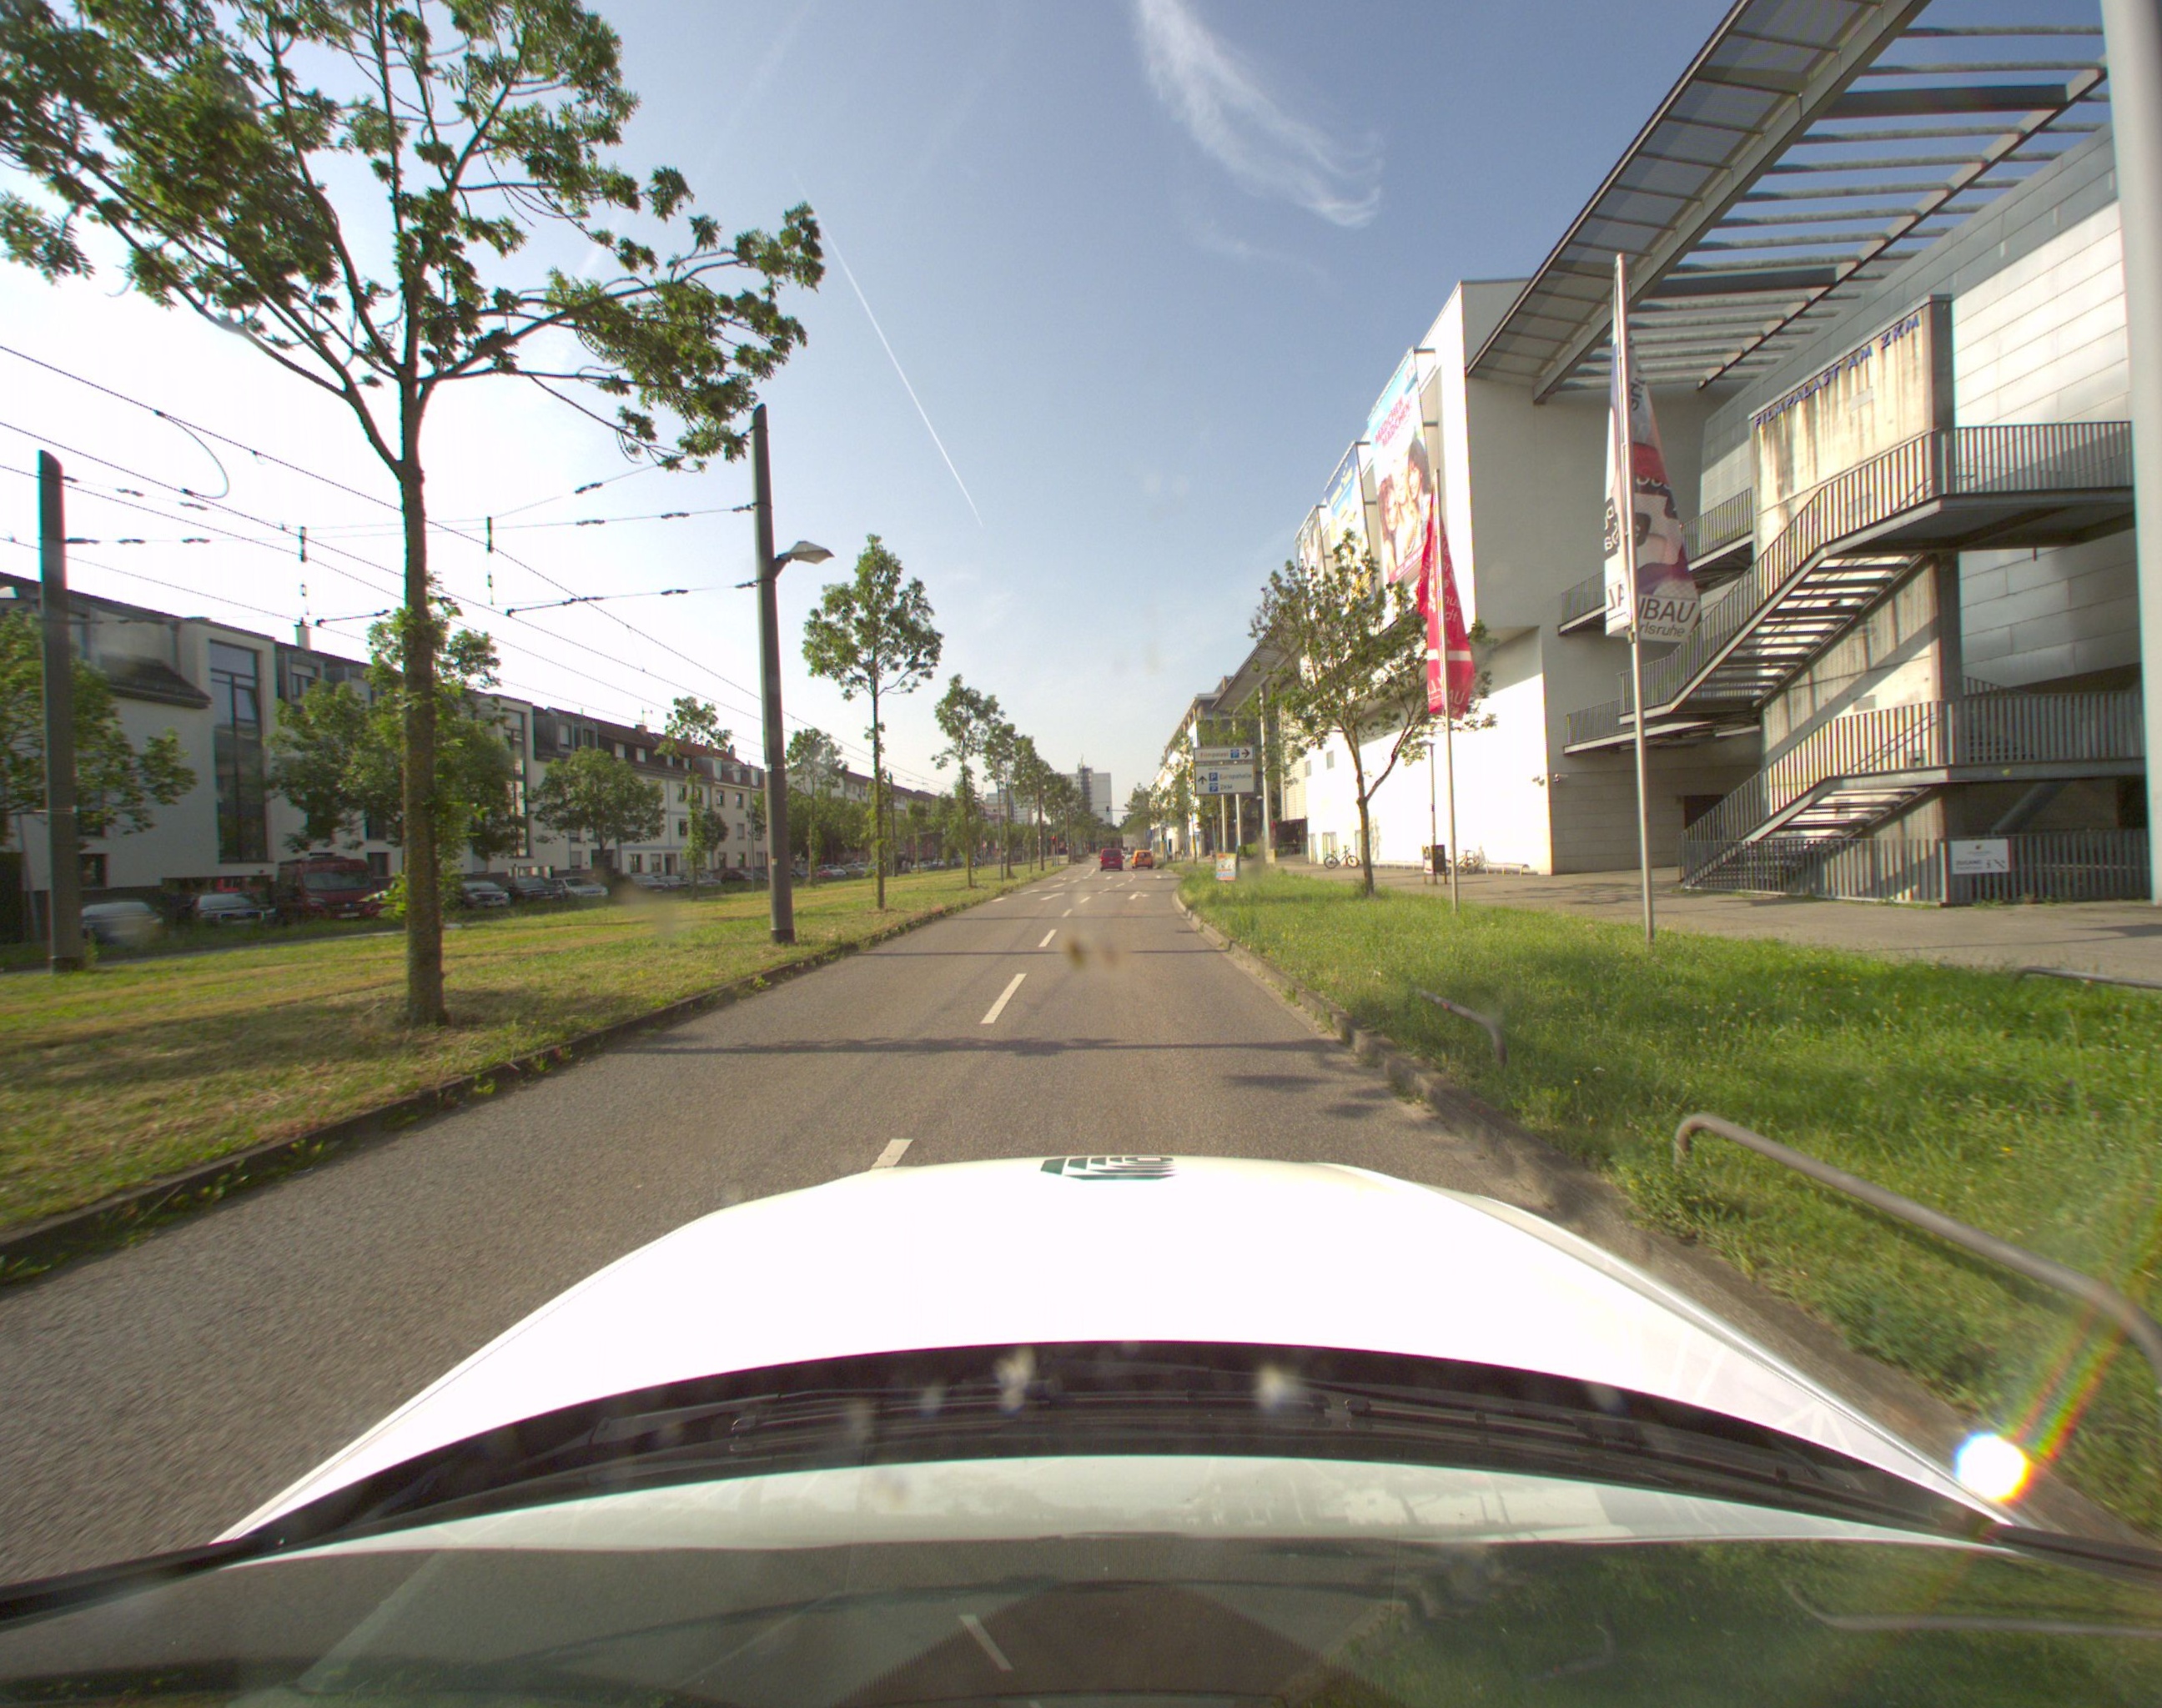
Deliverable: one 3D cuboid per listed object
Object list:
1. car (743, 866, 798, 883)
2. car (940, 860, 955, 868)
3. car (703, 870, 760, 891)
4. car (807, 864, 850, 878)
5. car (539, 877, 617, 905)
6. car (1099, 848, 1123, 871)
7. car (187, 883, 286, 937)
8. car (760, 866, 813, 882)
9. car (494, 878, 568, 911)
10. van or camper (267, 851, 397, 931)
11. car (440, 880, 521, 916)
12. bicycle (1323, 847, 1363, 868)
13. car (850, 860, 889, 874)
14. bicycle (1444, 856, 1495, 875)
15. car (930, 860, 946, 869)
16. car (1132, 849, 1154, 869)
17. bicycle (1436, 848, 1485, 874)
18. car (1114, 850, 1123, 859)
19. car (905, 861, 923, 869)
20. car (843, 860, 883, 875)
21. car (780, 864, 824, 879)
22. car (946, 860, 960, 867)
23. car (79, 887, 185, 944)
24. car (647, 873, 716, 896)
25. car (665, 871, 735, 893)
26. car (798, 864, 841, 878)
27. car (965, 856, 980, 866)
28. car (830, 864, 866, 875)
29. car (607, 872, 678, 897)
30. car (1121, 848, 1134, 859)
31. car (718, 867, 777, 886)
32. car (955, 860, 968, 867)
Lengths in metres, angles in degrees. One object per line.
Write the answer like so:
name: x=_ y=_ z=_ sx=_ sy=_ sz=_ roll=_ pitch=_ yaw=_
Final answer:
car: x=-24.841 y=1.635 z=65.118 sx=3.950 sy=1.288 sz=2.012 roll=-1 pitch=0 yaw=27
car: x=-24.889 y=1.829 z=151.913 sx=1.974 sy=1.360 sz=4.070 roll=-1 pitch=0 yaw=1
car: x=-24.578 y=1.852 z=57.335 sx=3.733 sy=1.376 sz=1.674 roll=-1 pitch=0 yaw=27
car: x=-24.997 y=1.699 z=80.595 sx=3.948 sy=1.269 sz=1.898 roll=-1 pitch=0 yaw=31
car: x=-25.788 y=1.868 z=41.726 sx=4.342 sy=1.320 sz=1.745 roll=-1 pitch=0 yaw=34
car: x=2.503 y=0.440 z=68.906 sx=1.868 sy=1.853 sz=4.000 roll=-2 pitch=0 yaw=0
car: x=-27.257 y=1.737 z=26.259 sx=4.100 sy=1.616 sz=1.880 roll=-1 pitch=-3 yaw=40
car: x=-24.492 y=1.675 z=67.778 sx=4.008 sy=1.288 sz=2.012 roll=-1 pitch=0 yaw=29
car: x=-26.003 y=1.883 z=38.482 sx=3.673 sy=1.434 sz=1.652 roll=-1 pitch=0 yaw=34
van or camper: x=-27.056 y=1.280 z=29.333 sx=6.082 sy=2.546 sz=2.430 roll=-2 pitch=0 yaw=38
car: x=-26.355 y=1.871 z=35.708 sx=3.948 sy=1.420 sz=1.793 roll=-1 pitch=0 yaw=37
bicycle: x=14.754 y=0.193 z=45.890 sx=1.998 sy=1.102 sz=0.676 roll=-3 pitch=0 yaw=6
car: x=-24.347 y=1.504 z=93.862 sx=4.297 sy=1.463 sz=1.976 roll=-1 pitch=0 yaw=35
bicycle: x=14.629 y=0.437 z=30.705 sx=1.651 sy=0.645 sz=0.538 roll=-3 pitch=0 yaw=2
car: x=-24.939 y=1.803 z=142.033 sx=1.974 sy=1.556 sz=4.538 roll=-1 pitch=0 yaw=1
car: x=5.757 y=0.459 z=75.577 sx=1.868 sy=1.696 sz=3.976 roll=-2 pitch=0 yaw=2
bicycle: x=14.624 y=0.270 z=31.397 sx=1.651 sy=0.915 sz=0.483 roll=-3 pitch=0 yaw=2
car: x=6.984 y=0.090 z=151.626 sx=1.682 sy=1.526 sz=3.852 roll=-4 pitch=0 yaw=2
car: x=-25.684 y=1.643 z=125.133 sx=1.827 sy=1.147 sz=4.165 roll=-1 pitch=0 yaw=1
car: x=-24.189 y=1.477 z=90.222 sx=4.407 sy=1.514 sz=2.013 roll=-2 pitch=0 yaw=38
car: x=-25.282 y=1.585 z=73.741 sx=3.948 sy=1.235 sz=1.710 roll=-1 pitch=0 yaw=35
car: x=-24.776 y=1.843 z=158.102 sx=1.974 sy=1.360 sz=4.070 roll=-1 pitch=0 yaw=1
car: x=-28.101 y=1.743 z=24.132 sx=4.100 sy=1.510 sz=1.880 roll=-1 pitch=-3 yaw=40
car: x=-25.137 y=1.882 z=51.210 sx=3.949 sy=1.376 sz=1.939 roll=-1 pitch=0 yaw=28
car: x=-25.732 y=1.862 z=54.977 sx=4.285 sy=1.376 sz=2.012 roll=-1 pitch=0 yaw=27
car: x=-24.963 y=1.603 z=77.685 sx=3.948 sy=1.258 sz=1.888 roll=-1 pitch=0 yaw=34
car: x=-20.349 y=1.272 z=152.692 sx=1.985 sy=1.706 sz=4.716 roll=-2 pitch=0 yaw=2
car: x=-25.086 y=1.639 z=87.632 sx=3.949 sy=1.178 sz=2.012 roll=-1 pitch=0 yaw=42
car: x=-26.291 y=1.826 z=48.781 sx=3.949 sy=1.376 sz=1.847 roll=-2 pitch=0 yaw=28
car: x=7.164 y=-0.063 z=125.402 sx=1.714 sy=1.519 sz=3.782 roll=-3 pitch=0 yaw=1
car: x=-25.463 y=1.734 z=62.094 sx=3.949 sy=1.288 sz=2.012 roll=-2 pitch=0 yaw=27
car: x=-24.633 y=1.866 z=167.385 sx=1.974 sy=1.360 sz=4.070 roll=-1 pitch=0 yaw=1
